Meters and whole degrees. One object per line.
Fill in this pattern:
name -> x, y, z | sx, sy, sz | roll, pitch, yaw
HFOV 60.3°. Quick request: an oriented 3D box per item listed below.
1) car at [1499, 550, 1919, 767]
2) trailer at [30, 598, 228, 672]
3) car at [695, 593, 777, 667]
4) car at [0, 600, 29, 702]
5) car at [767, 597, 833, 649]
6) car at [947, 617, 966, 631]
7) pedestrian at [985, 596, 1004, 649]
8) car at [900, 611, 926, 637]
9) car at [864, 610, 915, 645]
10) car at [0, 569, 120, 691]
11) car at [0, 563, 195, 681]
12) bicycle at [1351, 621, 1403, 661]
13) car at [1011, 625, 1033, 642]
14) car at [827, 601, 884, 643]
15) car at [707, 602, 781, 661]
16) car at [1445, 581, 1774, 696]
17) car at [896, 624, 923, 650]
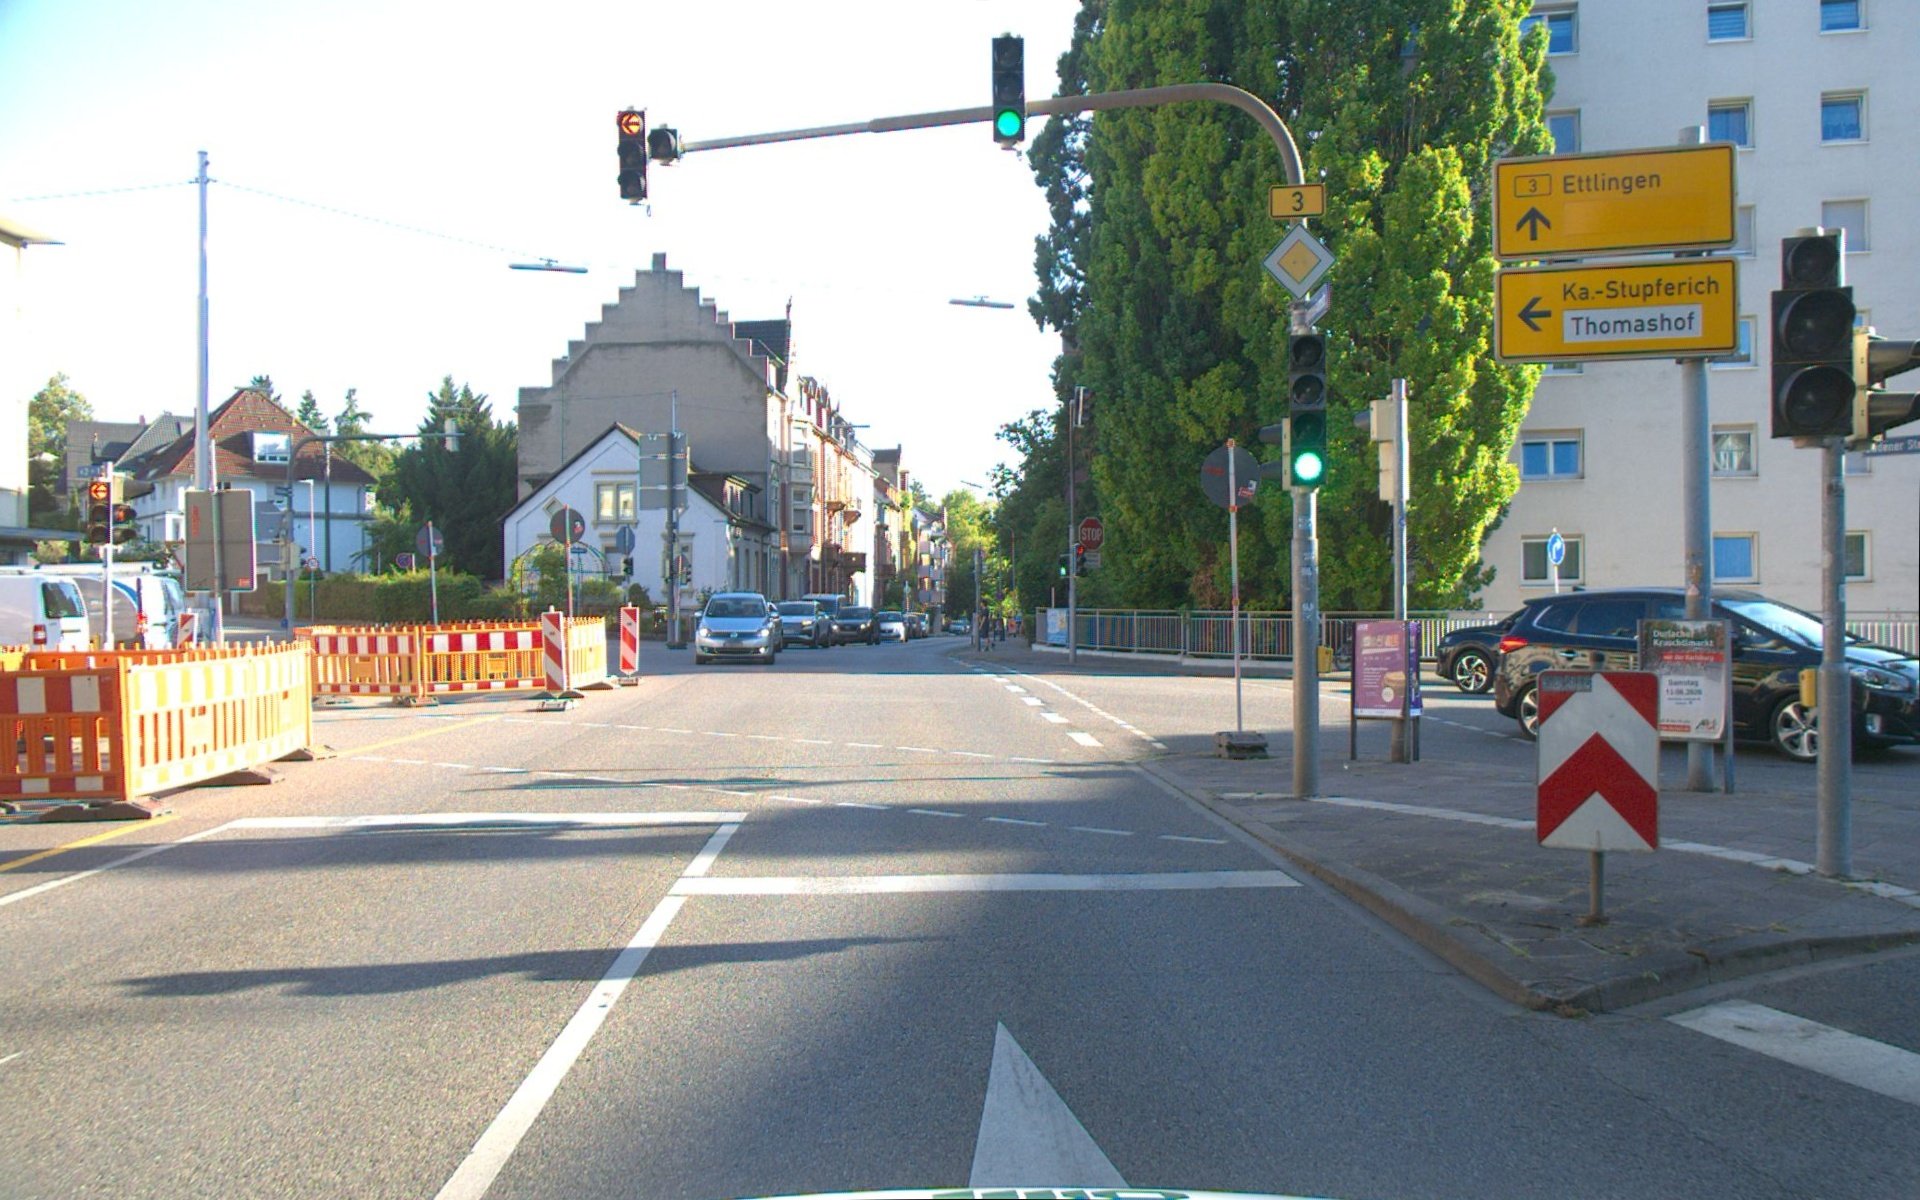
car -> 7.876, 0.461, 16.844 | 1.978, 1.847, 4.198 | -4, 3, -36
trailer -> -16.791, 0.691, 33.506 | 3.189, 1.421, 1.573 | 1, 0, -3
car -> -5.157, 0.642, 37.766 | 1.743, 1.570, 3.992 | 1, 0, -9
car -> -16.226, 0.751, 24.314 | 3.913, 1.505, 1.998 | 0, 0, -5
car -> -5.497, 0.759, 57.205 | 1.739, 1.677, 4.535 | 1, 0, 1
car -> -0.344, 2.835, 193.578 | 1.952, 1.517, 4.472 | -1, 0, 3
pedestrian -> 1.138, 0.739, 54.726 | 0.590, 1.722, 0.612 | -1, 0, 2
car -> -3.718, 1.900, 132.489 | 1.755, 2.045, 4.698 | 1, 0, 2
car -> -3.564, 1.367, 84.266 | 1.912, 1.677, 4.286 | 1, 0, 6
car -> -16.291, 0.431, 26.884 | 4.224, 1.884, 2.001 | 1, 0, 2
car -> -16.394, 0.352, 29.392 | 4.573, 1.999, 2.116 | 1, 0, -3
bicycle -> 9.804, 0.949, 38.871 | 1.271, 0.919, 0.405 | 1, 0, -31
car -> 6.071, 3.222, 160.655 | 1.951, 1.544, 4.002 | -1, 0, 4
car -> -4.416, 0.913, 70.526 | 1.912, 1.677, 4.285 | 1, 0, 3
car -> -5.938, 0.843, 45.830 | 1.740, 1.506, 4.093 | 1, 0, -4
car -> 10.460, 0.613, 26.865 | 4.586, 1.699, 1.986 | 0, -3, 45
car -> -3.679, 2.693, 121.311 | 1.667, 1.769, 3.858 | 1, 0, 2
